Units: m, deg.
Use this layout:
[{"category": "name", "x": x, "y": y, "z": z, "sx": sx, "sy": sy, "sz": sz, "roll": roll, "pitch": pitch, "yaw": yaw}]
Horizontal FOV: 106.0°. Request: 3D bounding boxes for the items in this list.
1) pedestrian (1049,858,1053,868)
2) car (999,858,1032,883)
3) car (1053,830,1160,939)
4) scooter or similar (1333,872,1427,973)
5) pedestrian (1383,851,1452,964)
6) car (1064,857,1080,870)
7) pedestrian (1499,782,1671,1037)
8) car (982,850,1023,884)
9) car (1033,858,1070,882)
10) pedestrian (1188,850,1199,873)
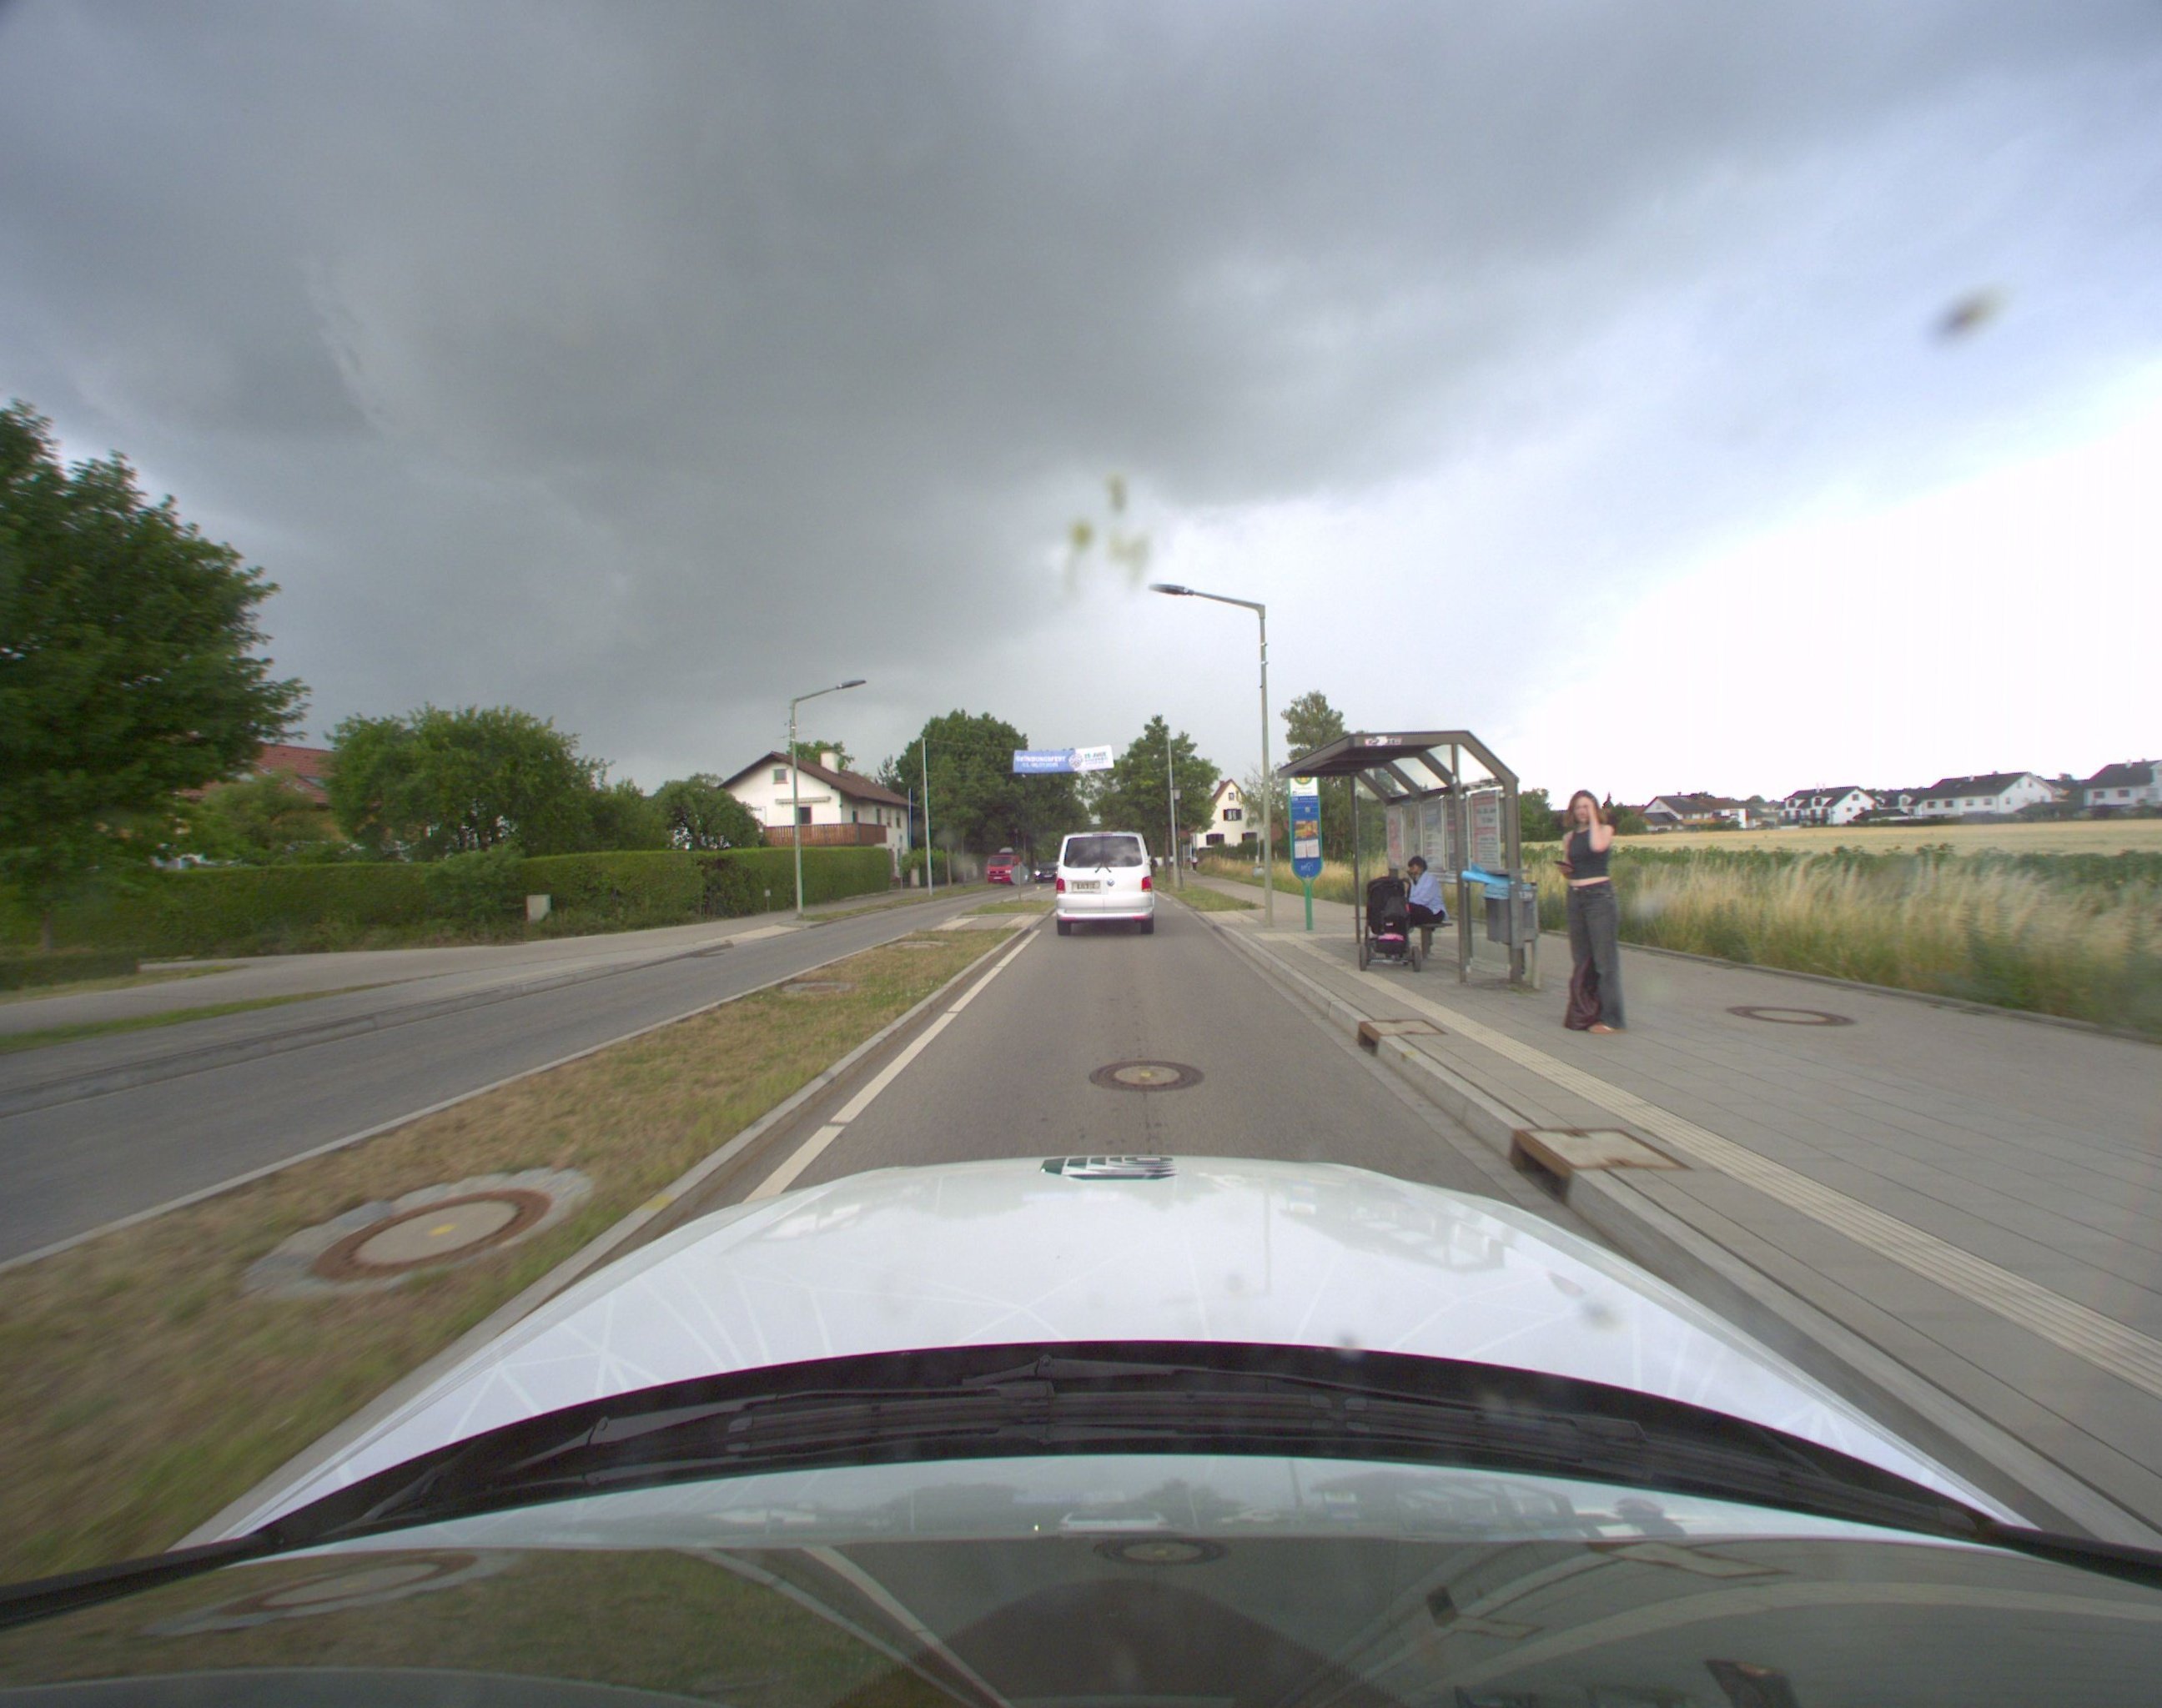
[{"category": "pedestrian", "x": -4.691, "y": 1.405, "z": 126.147, "sx": 0.621, "sy": 1.549, "sz": 0.522, "roll": -1, "pitch": -1, "yaw": -2}, {"category": "car", "x": -4.591, "y": 1.133, "z": 57.780, "sx": 1.765, "sy": 1.598, "sz": 4.240, "roll": -1, "pitch": 0, "yaw": 2}, {"category": "car", "x": 0.514, "y": 0.568, "z": 16.768, "sx": 1.881, "sy": 1.912, "sz": 4.001, "roll": -2, "pitch": -1, "yaw": 1}, {"category": "scooter or similar", "x": 3.444, "y": 0.749, "z": 9.353, "sx": 0.699, "sy": 1.062, "sz": 1.067, "roll": -1, "pitch": -1, "yaw": 38}, {"category": "pedestrian", "x": 4.014, "y": 0.621, "z": 9.751, "sx": 0.660, "sy": 1.302, "sz": 0.506, "roll": 0, "pitch": -1, "yaw": 11}, {"category": "car", "x": -1.129, "y": 1.199, "z": 106.547, "sx": 1.699, "sy": 1.532, "sz": 3.512, "roll": -4, "pitch": 0, "yaw": 5}, {"category": "pedestrian", "x": 3.782, "y": 0.388, "z": 6.165, "sx": 0.780, "sy": 1.792, "sz": 0.777, "roll": 0, "pitch": -1, "yaw": -8}, {"category": "car", "x": -4.923, "y": 0.805, "z": 51.691, "sx": 1.822, "sy": 2.030, "sz": 5.049, "roll": -1, "pitch": 0, "yaw": 3}, {"category": "car", "x": -1.928, "y": 1.029, "z": 53.889, "sx": 1.912, "sy": 1.453, "sz": 4.501, "roll": -3, "pitch": 0, "yaw": 4}, {"category": "pedestrian", "x": 8.958, "y": 0.606, "z": 64.947, "sx": 0.833, "sy": 1.755, "sz": 0.871, "roll": -2, "pitch": -1, "yaw": 6}]
